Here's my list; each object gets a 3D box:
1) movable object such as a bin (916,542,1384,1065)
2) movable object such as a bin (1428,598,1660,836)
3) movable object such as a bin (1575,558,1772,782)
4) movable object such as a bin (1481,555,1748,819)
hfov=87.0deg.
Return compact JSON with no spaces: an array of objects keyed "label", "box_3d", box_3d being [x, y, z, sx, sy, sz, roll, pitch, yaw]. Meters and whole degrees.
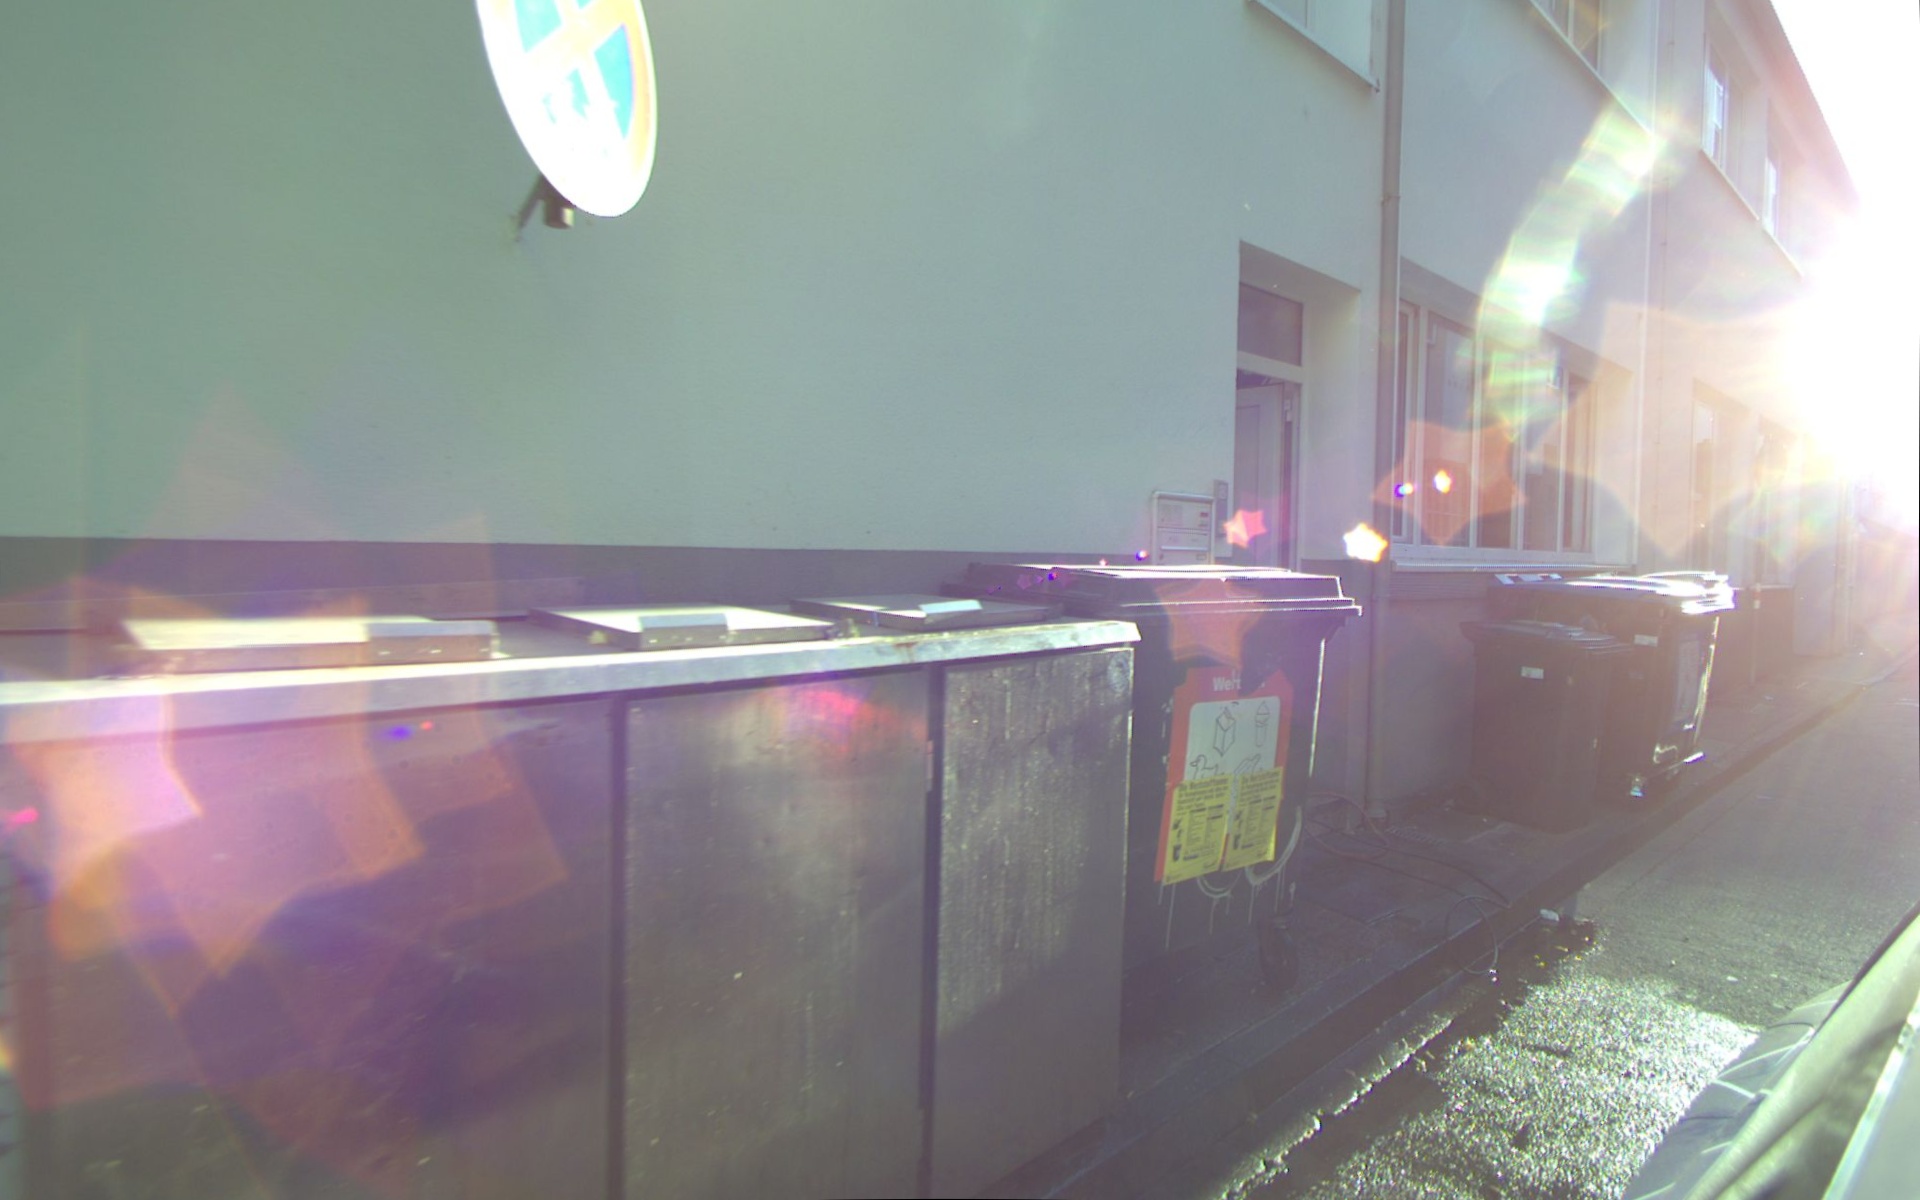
[{"label":"movable object such as a bin","box_3d":[0.631,0.498,3.306,1.267,1.320,0.838,-1,5,-40]},{"label":"movable object such as a bin","box_3d":[3.172,0.575,5.514,0.726,1.087,0.870,-1,5,-44]},{"label":"movable object such as a bin","box_3d":[5.109,0.414,7.228,0.937,1.383,1.322,5,5,41]},{"label":"movable object such as a bin","box_3d":[4.083,0.441,6.304,1.320,1.383,1.065,-2,5,-45]}]
